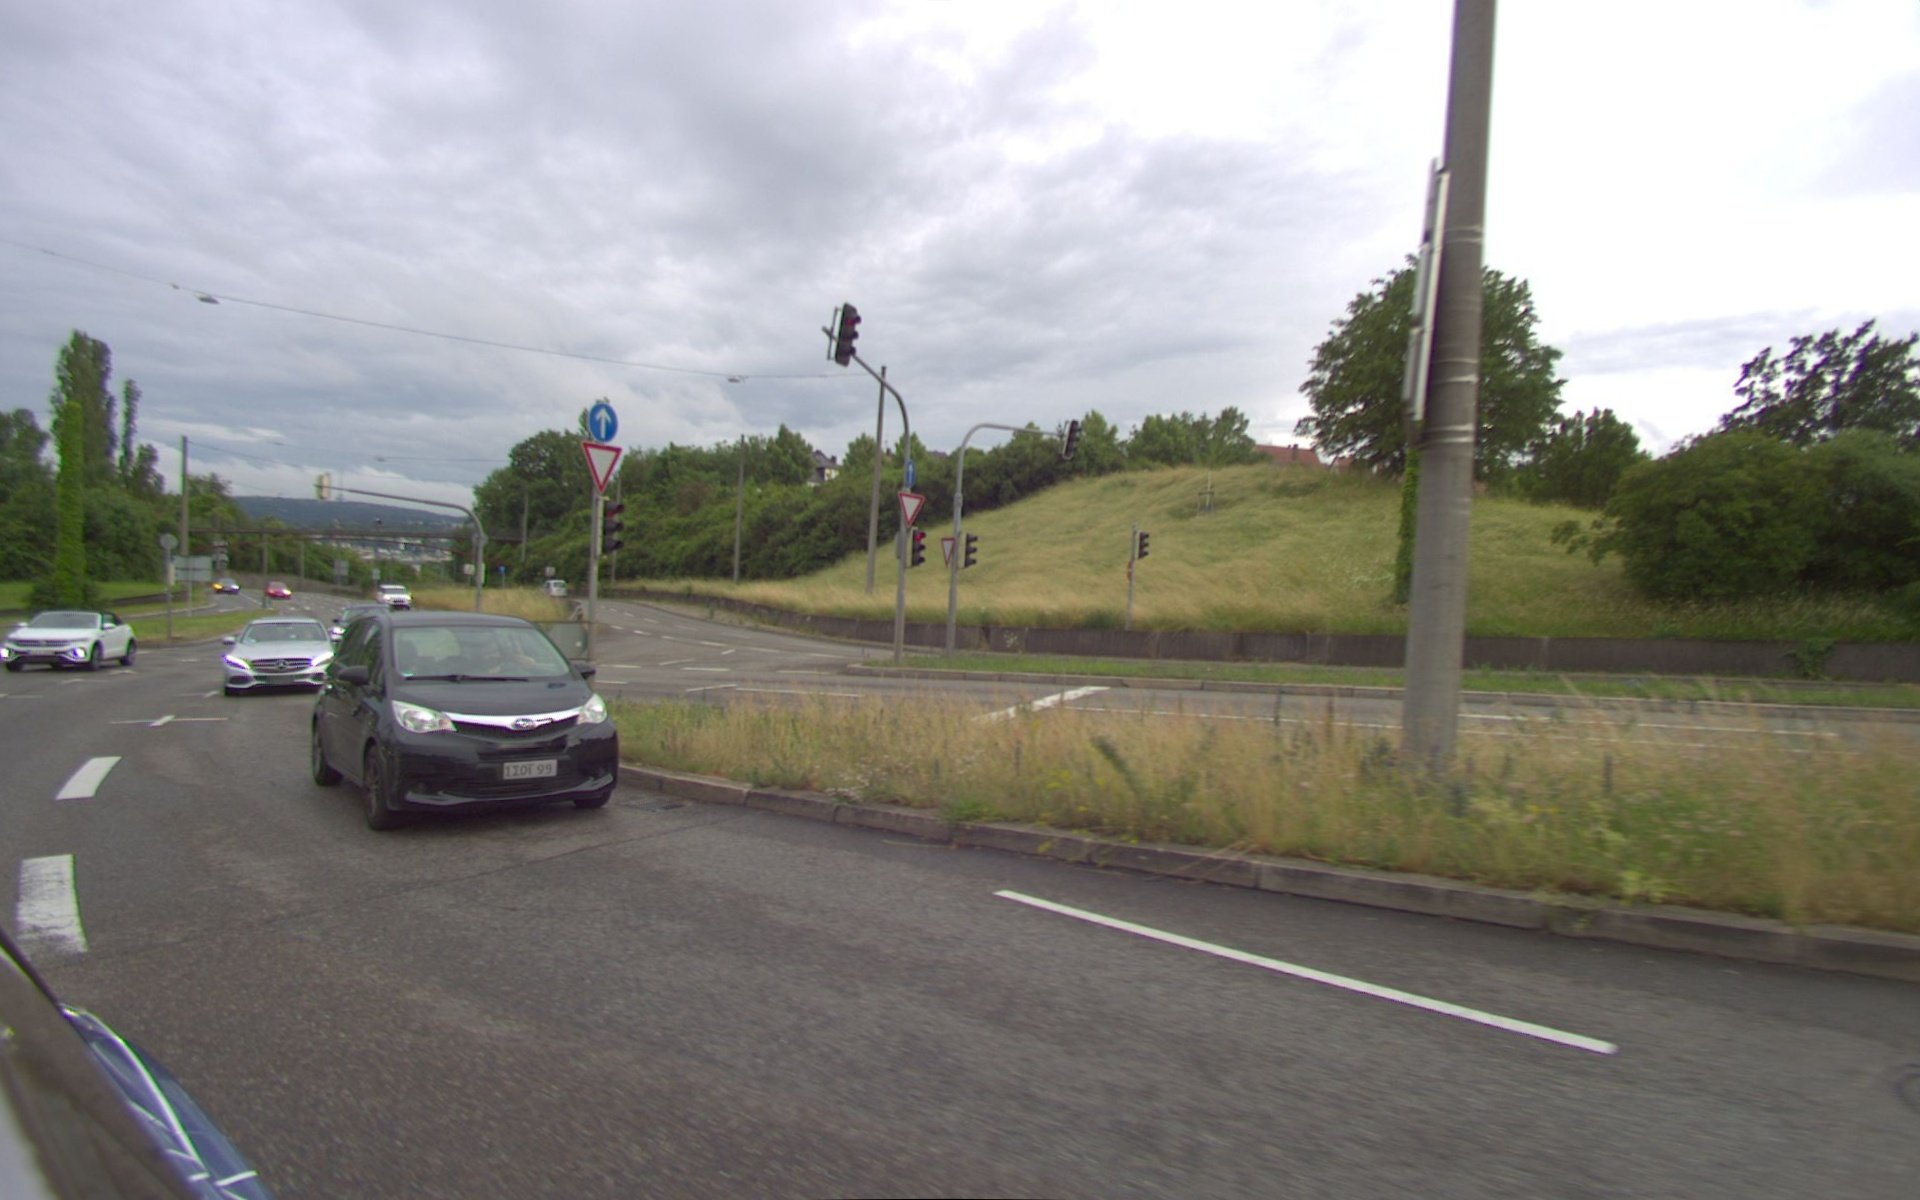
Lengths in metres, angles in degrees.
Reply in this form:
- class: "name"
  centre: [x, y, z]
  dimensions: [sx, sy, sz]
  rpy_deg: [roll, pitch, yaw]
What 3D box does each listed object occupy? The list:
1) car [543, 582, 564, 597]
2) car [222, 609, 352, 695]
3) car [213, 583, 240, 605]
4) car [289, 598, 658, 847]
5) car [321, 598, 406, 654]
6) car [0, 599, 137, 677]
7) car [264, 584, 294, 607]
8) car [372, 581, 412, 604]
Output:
- class: "car"
  centre: [-40.250, -1.043, 100.129]
  dimensions: [1.535, 1.443, 3.240]
  rpy_deg: [-2, 2, -28]
- class: "car"
  centre: [-13.490, 0.938, 20.298]
  dimensions: [1.967, 1.418, 4.536]
  rpy_deg: [0, 1, -34]
- class: "car"
  centre: [-70.355, -0.590, 97.062]
  dimensions: [1.967, 2.029, 4.009]
  rpy_deg: [-1, 0, -37]
- class: "car"
  centre: [-4.283, 0.823, 8.561]
  dimensions: [1.774, 1.577, 4.049]
  rpy_deg: [2, -2, -41]
- class: "car"
  centre: [-20.003, 0.818, 34.098]
  dimensions: [1.895, 1.748, 4.039]
  rpy_deg: [-1, 0, -22]
- class: "car"
  centre: [-22.970, 0.911, 26.076]
  dimensions: [1.812, 1.551, 3.832]
  rpy_deg: [-1, 5, -25]
- class: "car"
  centre: [-61.254, -0.416, 90.973]
  dimensions: [1.968, 2.029, 4.008]
  rpy_deg: [-1, 0, -38]
- class: "car"
  centre: [-43.308, -0.571, 77.143]
  dimensions: [1.968, 1.705, 4.297]
  rpy_deg: [-1, 0, -39]
